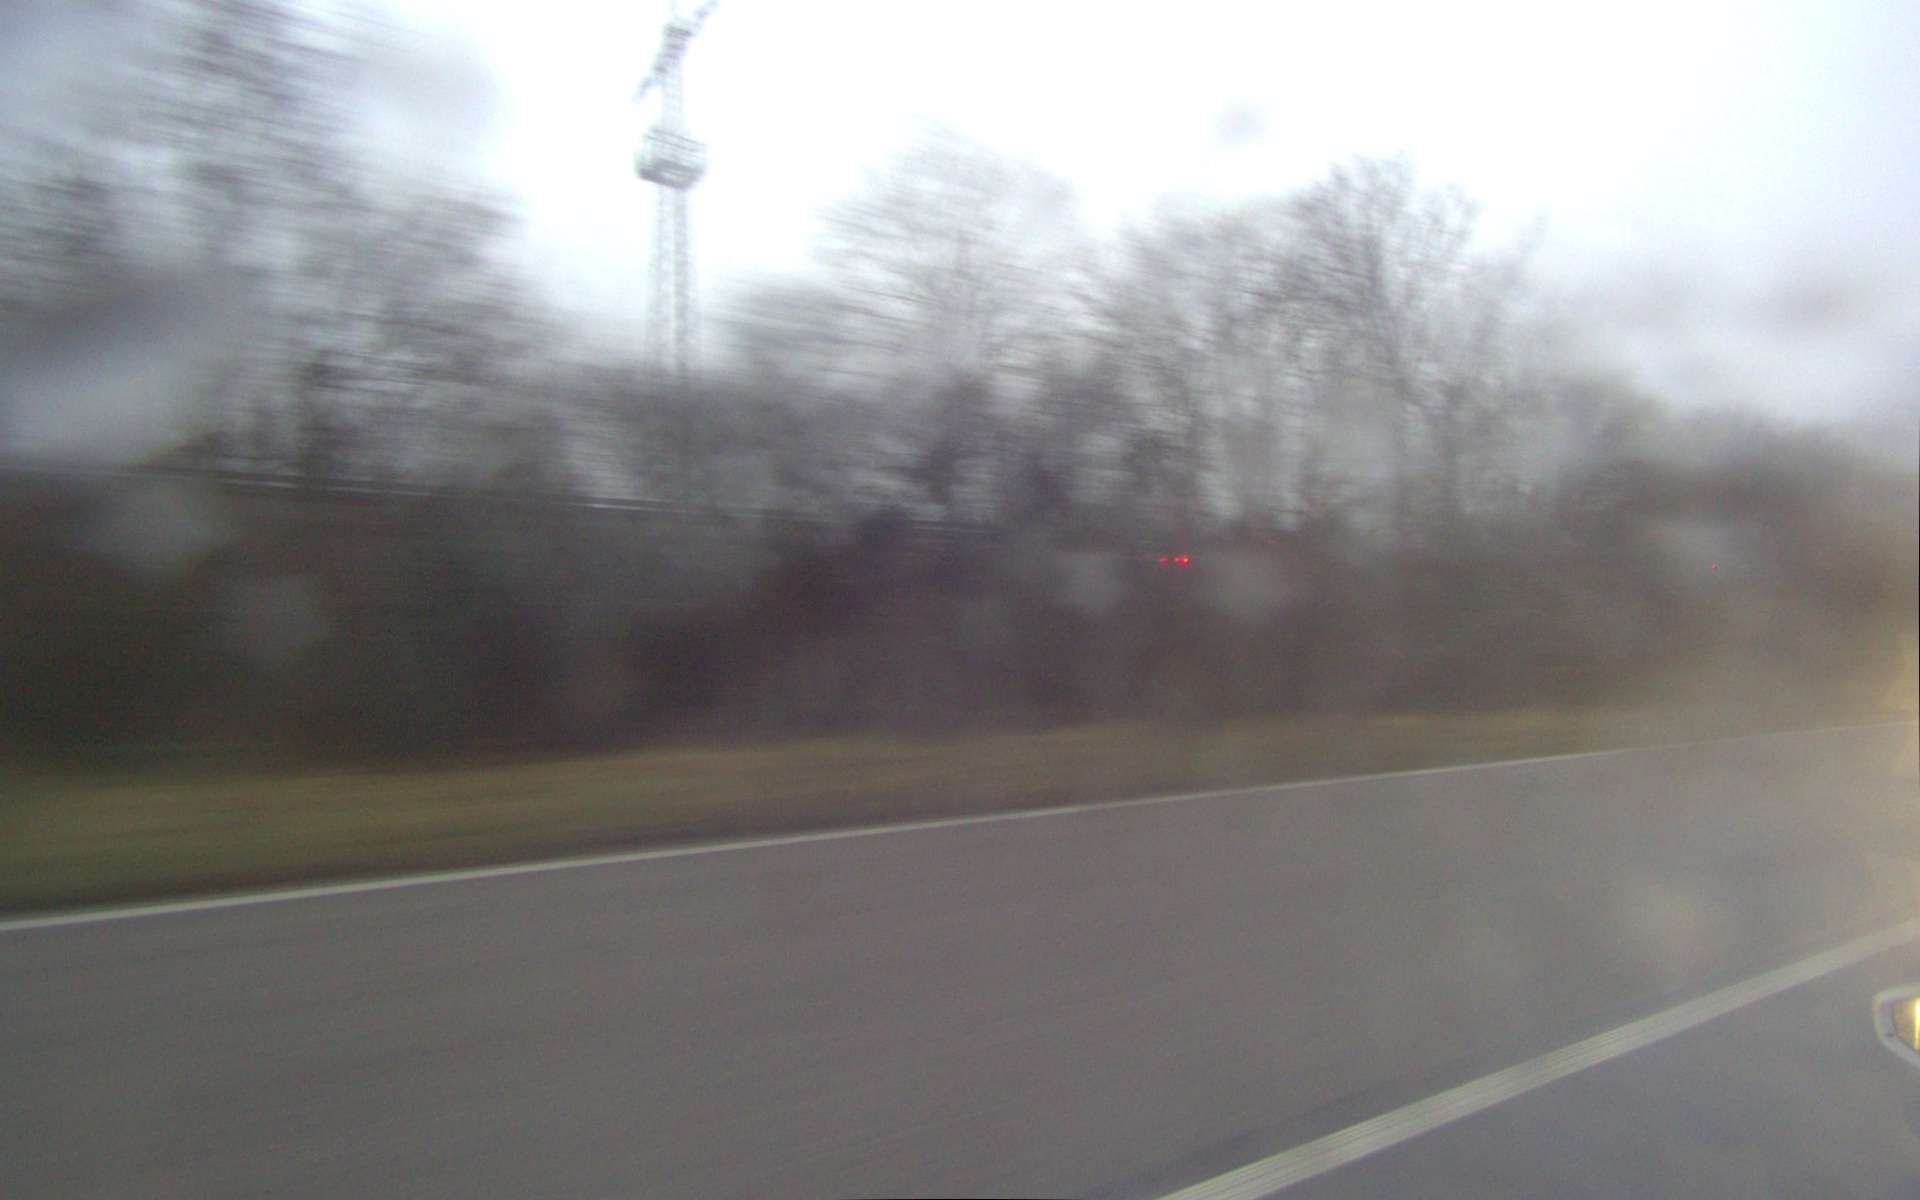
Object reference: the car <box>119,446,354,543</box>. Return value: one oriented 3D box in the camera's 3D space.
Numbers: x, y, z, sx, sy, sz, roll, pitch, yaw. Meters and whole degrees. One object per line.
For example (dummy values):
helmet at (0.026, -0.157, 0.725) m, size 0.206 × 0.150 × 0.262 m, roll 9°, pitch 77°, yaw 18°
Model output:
car at (-15.228, -2.157, 21.414) m, size 3.900 × 1.656 × 1.774 m, roll 2°, pitch 1°, yaw -33°
